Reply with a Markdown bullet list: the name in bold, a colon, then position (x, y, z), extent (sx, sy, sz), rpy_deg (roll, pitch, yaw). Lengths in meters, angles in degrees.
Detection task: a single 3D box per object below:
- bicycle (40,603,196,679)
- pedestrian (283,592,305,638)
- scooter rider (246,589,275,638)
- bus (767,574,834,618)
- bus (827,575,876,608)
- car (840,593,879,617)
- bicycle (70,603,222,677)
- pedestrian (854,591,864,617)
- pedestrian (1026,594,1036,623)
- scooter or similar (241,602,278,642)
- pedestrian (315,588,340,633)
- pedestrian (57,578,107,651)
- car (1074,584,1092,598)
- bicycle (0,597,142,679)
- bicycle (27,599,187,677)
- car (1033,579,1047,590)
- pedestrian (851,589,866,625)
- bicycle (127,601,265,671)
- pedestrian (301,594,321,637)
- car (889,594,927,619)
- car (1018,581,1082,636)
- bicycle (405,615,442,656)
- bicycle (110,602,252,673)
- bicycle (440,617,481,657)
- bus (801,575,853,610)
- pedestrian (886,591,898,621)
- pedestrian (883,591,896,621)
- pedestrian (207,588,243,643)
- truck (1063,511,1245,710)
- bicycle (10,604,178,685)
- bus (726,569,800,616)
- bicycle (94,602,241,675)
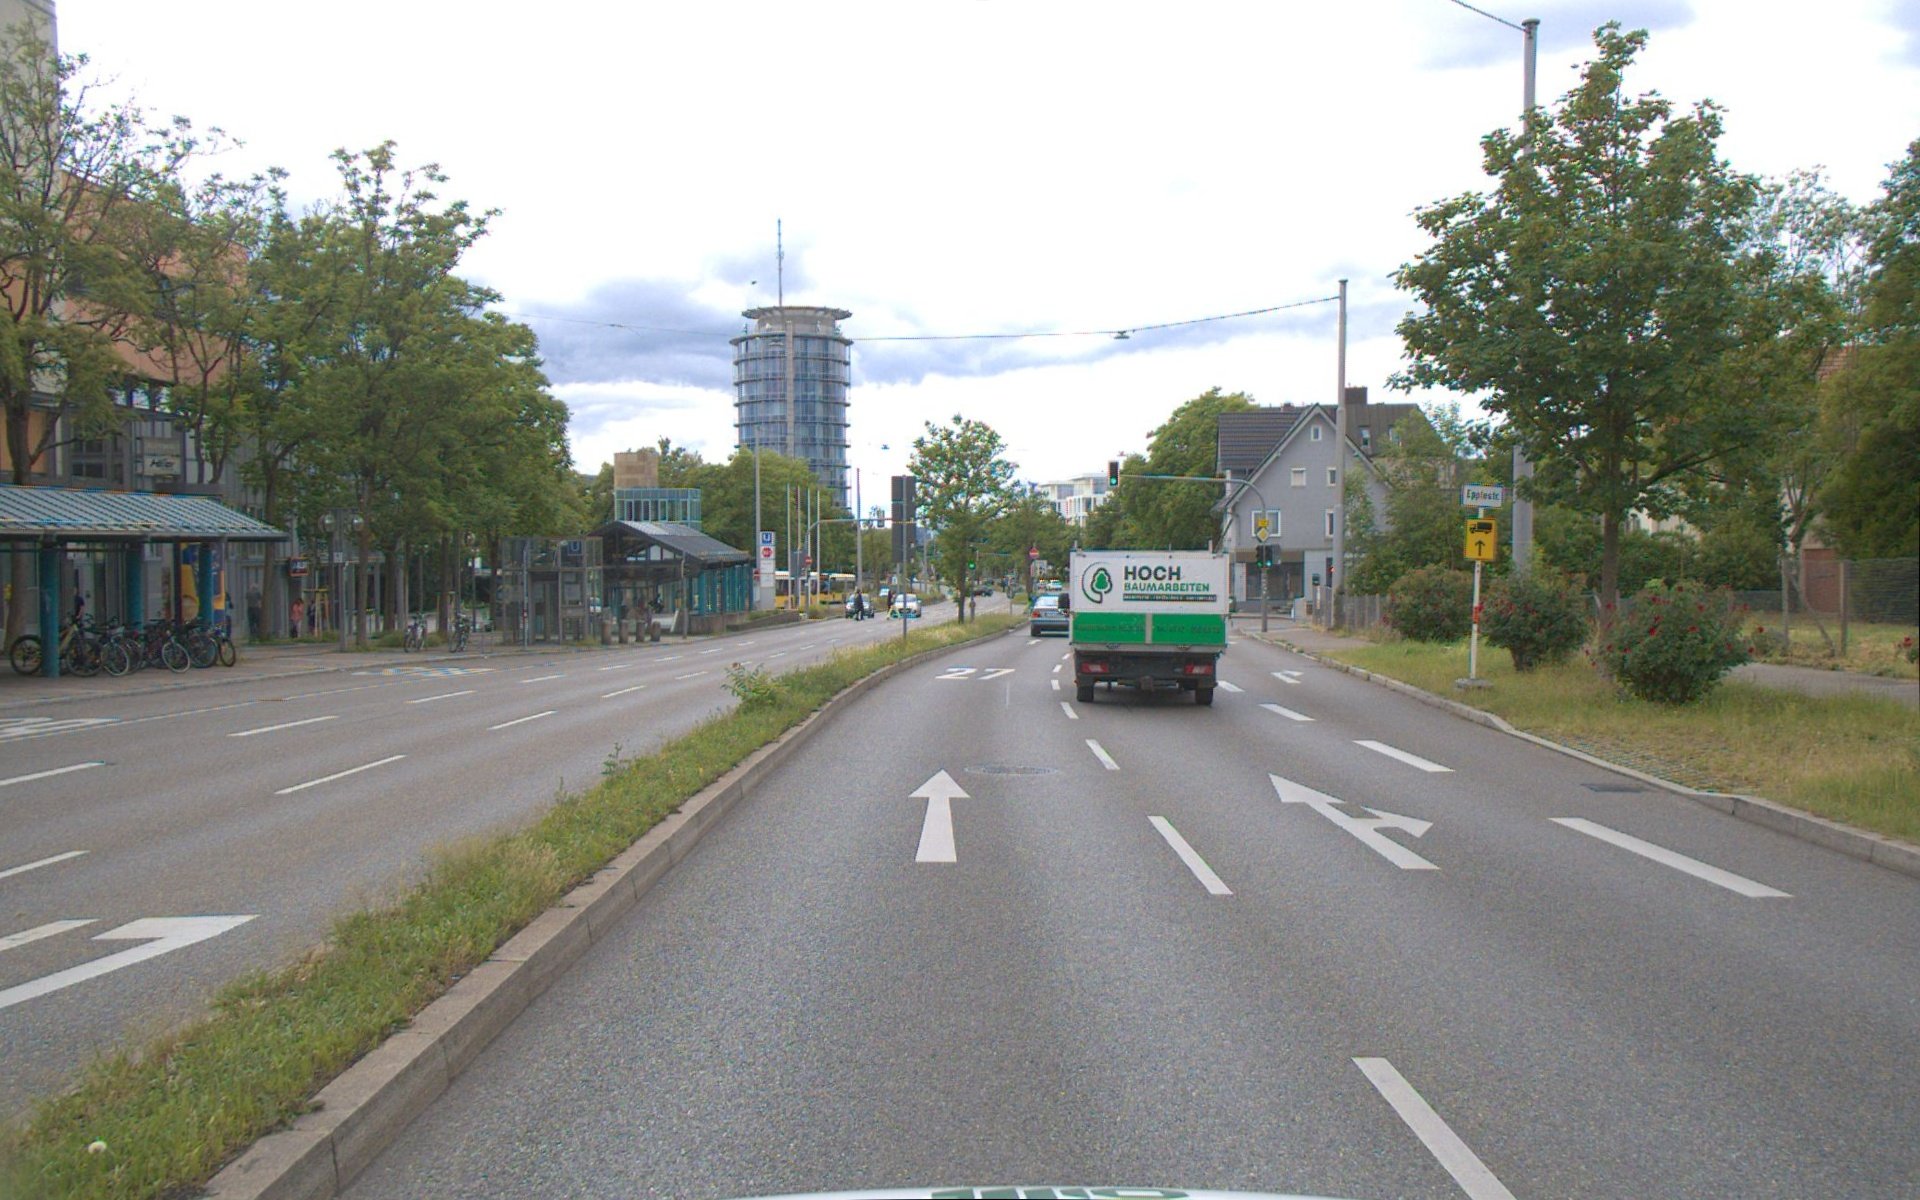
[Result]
- **bicycle**: position (-17.875, 0.858, 35.145), extent (2.841, 1.533, 0.805), rpy_deg (-1, 0, -3)
- **pedestrian**: position (-25.448, 0.565, 63.241), extent (0.553, 1.757, 0.680), rpy_deg (-1, 0, -3)
- **scooter rider**: position (-22.765, 0.421, 53.828), extent (0.514, 1.572, 0.707), rpy_deg (1, 0, 9)
- **bus**: position (-13.413, -0.350, 140.268), extent (2.771, 3.490, 10.742), rpy_deg (-1, 0, 10)
- **bus**: position (-11.924, -0.893, 182.850), extent (2.771, 3.490, 10.742), rpy_deg (-1, 0, 10)
- **car**: position (-6.539, 0.336, 107.724), extent (1.951, 1.512, 4.002), rpy_deg (-1, 0, 5)
- **bicycle**: position (-17.572, 0.855, 35.741), extent (2.841, 1.533, 0.805), rpy_deg (-1, 0, -3)
- **pedestrian**: position (-6.015, 0.242, 98.251), extent (0.531, 1.522, 0.487), rpy_deg (-1, 0, 3)
- **pedestrian**: position (4.300, 0.498, 100.526), extent (0.571, 1.746, 0.546), rpy_deg (-1, 0, -1)
- **scooter or similar**: position (-22.776, 0.707, 53.801), extent (0.470, 1.289, 1.289), rpy_deg (1, 0, 9)
- **pedestrian**: position (-23.289, 0.380, 60.941), extent (0.621, 1.614, 0.825), rpy_deg (-1, 0, -4)
- **pedestrian**: position (-25.233, 0.413, 47.540), extent (0.878, 2.049, 0.934), rpy_deg (-1, 0, 0)
- **car**: position (14.596, -1.076, 196.397), extent (1.952, 1.545, 4.001), rpy_deg (-1, 0, 2)
- **bicycle**: position (-17.595, 0.728, 32.172), extent (2.841, 1.533, 0.972), rpy_deg (1, 0, -3)
- **bicycle**: position (-17.622, 0.768, 34.220), extent (2.840, 1.533, 0.811), rpy_deg (-1, 0, -1)
- **car**: position (11.167, -2.204, 231.729), extent (1.952, 1.545, 4.001), rpy_deg (-1, 0, 2)
- **pedestrian**: position (-5.992, 0.415, 97.269), extent (0.813, 2.049, 0.546), rpy_deg (-1, 0, -1)
- **bicycle**: position (-17.605, 0.826, 38.167), extent (2.841, 1.533, 0.598), rpy_deg (-1, 0, -3)
- **pedestrian**: position (-24.752, 0.575, 63.069), extent (0.506, 1.616, 0.680), rpy_deg (-1, 0, -3)
- **car**: position (-3.343, 0.424, 107.295), extent (1.951, 1.512, 4.002), rpy_deg (-1, 0, 5)
- **car**: position (3.247, 0.277, 58.971), extent (1.951, 1.862, 4.003), rpy_deg (0, 0, 7)
- **bicycle**: position (-15.765, 1.032, 48.600), extent (0.700, 1.156, 1.953), rpy_deg (-1, 0, -9)
- **bicycle**: position (-17.646, 0.834, 37.514), extent (2.841, 1.533, 0.700), rpy_deg (-1, 0, -3)
- **bicycle**: position (-14.676, 1.071, 48.648), extent (0.814, 1.102, 1.933), rpy_deg (-1, 0, -8)
- **bus**: position (-13.777, -0.772, 172.241), extent (2.771, 3.490, 10.742), rpy_deg (-1, 0, 10)
- **pedestrian**: position (-3.994, 0.338, 96.945), extent (0.640, 1.746, 0.452), rpy_deg (-1, 0, -1)
- **pedestrian**: position (-4.175, 0.355, 97.570), extent (0.730, 1.746, 0.583), rpy_deg (-1, 0, -1)
- **pedestrian**: position (-23.504, 0.484, 52.921), extent (0.754, 1.746, 0.886), rpy_deg (1, 0, -3)
- **truck**: position (2.837, 0.058, 25.500), extent (2.419, 2.657, 6.552), rpy_deg (0, 1, 4)
- **bicycle**: position (-17.374, 0.884, 33.230), extent (2.841, 1.533, 0.891), rpy_deg (-1, 0, -3)
- **bus**: position (-15.392, -0.576, 130.379), extent (2.771, 3.490, 10.742), rpy_deg (-1, 0, 10)
- **bicycle**: position (-17.550, 0.840, 36.671), extent (2.841, 1.533, 0.778), rpy_deg (-1, 0, -3)
